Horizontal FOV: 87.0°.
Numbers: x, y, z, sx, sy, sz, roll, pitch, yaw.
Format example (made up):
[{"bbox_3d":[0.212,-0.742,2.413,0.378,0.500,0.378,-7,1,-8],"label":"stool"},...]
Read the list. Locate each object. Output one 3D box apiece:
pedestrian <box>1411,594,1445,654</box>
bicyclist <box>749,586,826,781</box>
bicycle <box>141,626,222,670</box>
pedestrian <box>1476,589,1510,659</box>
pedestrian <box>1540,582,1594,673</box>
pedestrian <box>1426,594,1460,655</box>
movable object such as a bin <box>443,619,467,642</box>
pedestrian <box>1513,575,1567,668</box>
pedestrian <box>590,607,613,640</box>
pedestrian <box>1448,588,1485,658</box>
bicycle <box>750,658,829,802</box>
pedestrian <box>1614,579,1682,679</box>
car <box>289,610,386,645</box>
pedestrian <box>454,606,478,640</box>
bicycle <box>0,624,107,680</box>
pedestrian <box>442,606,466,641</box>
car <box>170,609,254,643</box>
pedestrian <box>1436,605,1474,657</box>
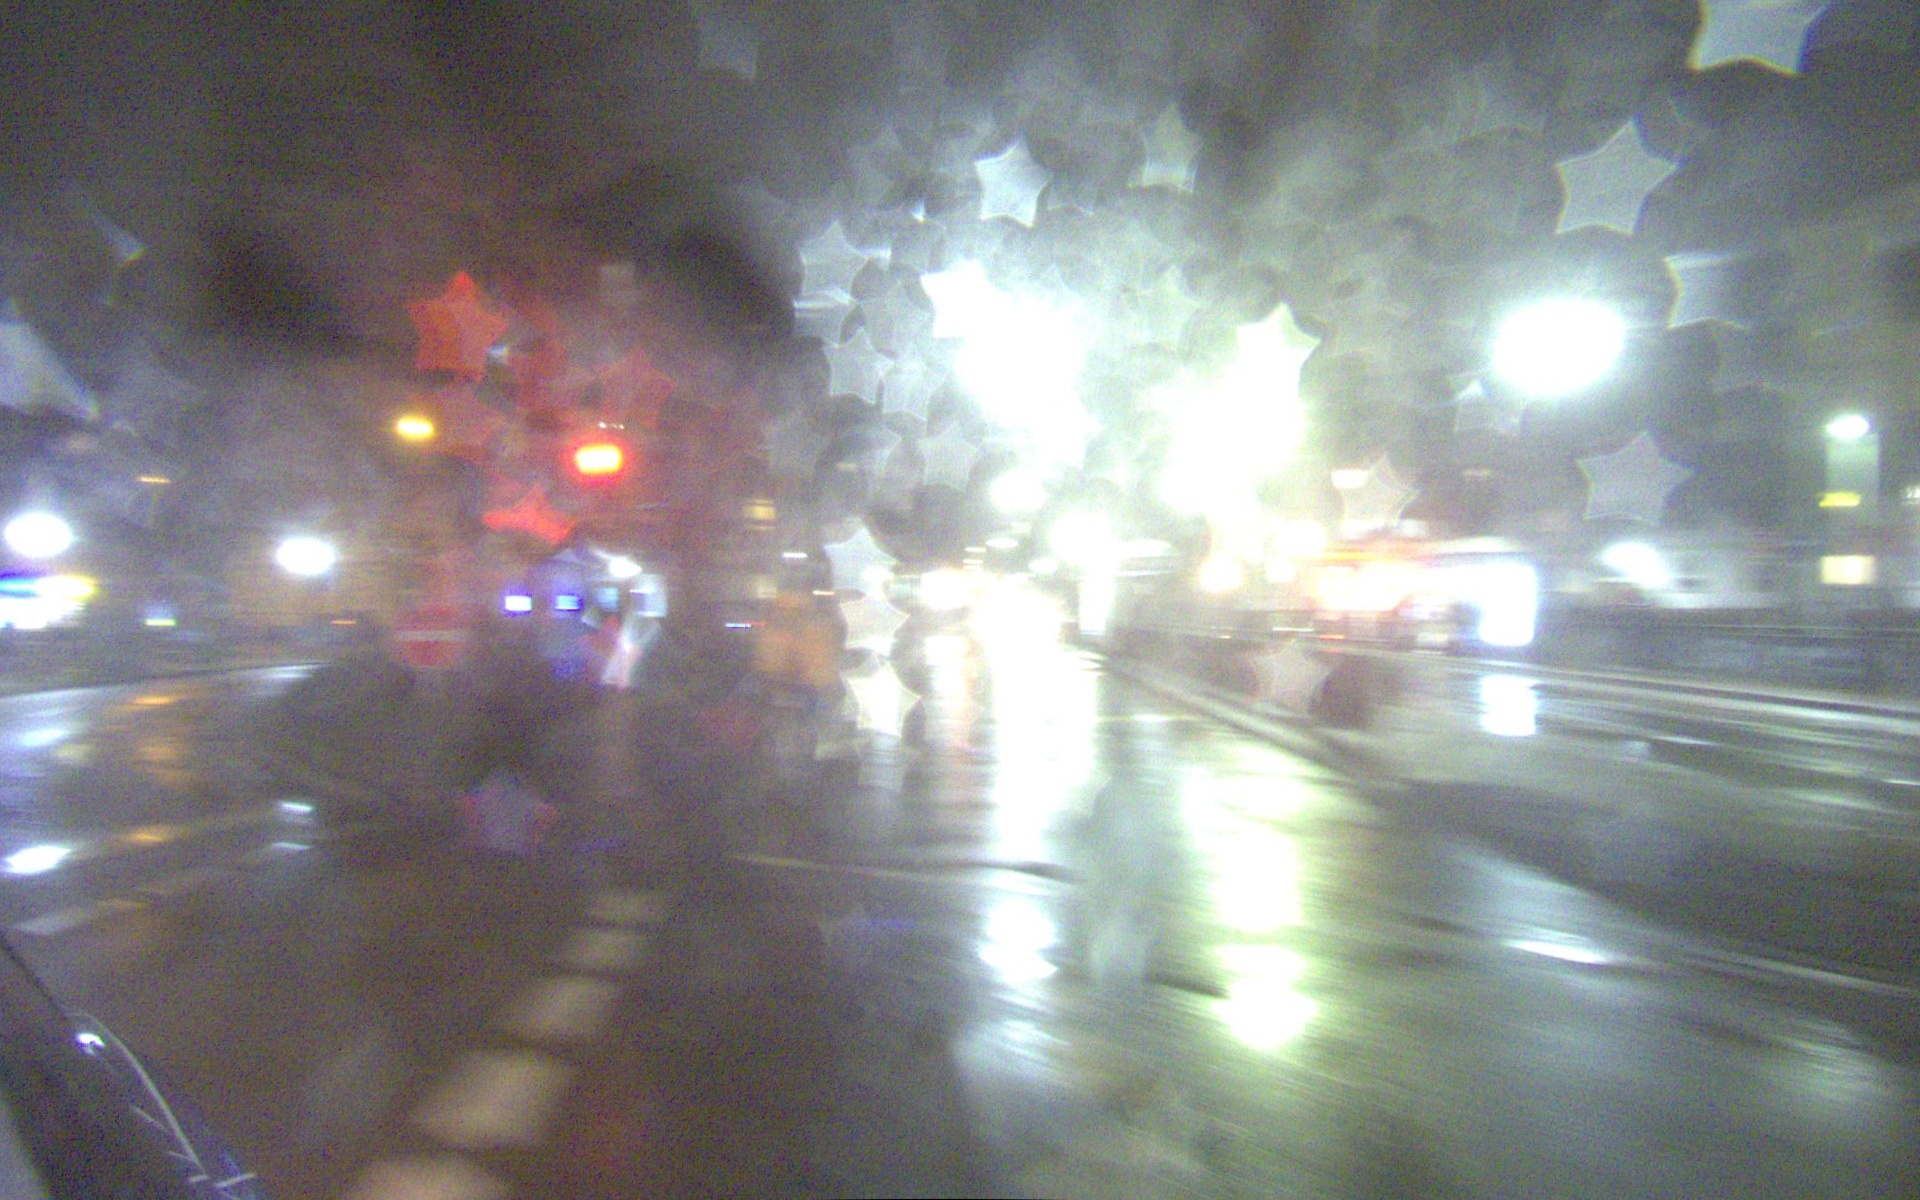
[{"bbox_3d":[12.555,0.633,27.131,0.503,1.559,0.577,-3,0,-17],"label":"pedestrian"},{"bbox_3d":[-1.481,0.676,8.667,0.563,1.559,0.818,-2,0,-10],"label":"bicyclist"},{"bbox_3d":[-20.582,1.263,26.786,1.597,1.089,0.566,-1,2,-15],"label":"bicycle"},{"bbox_3d":[12.709,0.572,24.136,0.394,1.641,0.533,-3,0,-42],"label":"pedestrian"},{"bbox_3d":[12.217,0.545,20.380,0.711,1.787,0.667,-3,0,17],"label":"pedestrian"},{"bbox_3d":[12.679,0.637,26.573,0.472,1.539,0.588,-3,0,-17],"label":"pedestrian"},{"bbox_3d":[-25.213,1.516,50.540,0.918,1.124,0.629,-3,0,26],"label":"movable object such as a bin"},{"bbox_3d":[12.979,0.469,22.661,0.600,2.001,0.859,-3,0,-2],"label":"pedestrian"},{"bbox_3d":[-17.138,1.115,48.362,0.759,1.504,0.633,-3,0,7],"label":"pedestrian"},{"bbox_3d":[12.381,0.559,24.737,0.576,1.664,0.560,-3,0,-43],"label":"pedestrian"},{"bbox_3d":[-1.472,1.048,8.669,0.563,0.976,1.784,-2,0,-10],"label":"bicycle"},{"bbox_3d":[12.784,0.523,18.820,0.660,1.787,0.719,-3,0,-9],"label":"pedestrian"},{"bbox_3d":[-31.057,1.385,50.488,4.468,1.605,1.874,-1,1,24],"label":"car"},{"bbox_3d":[-24.486,1.129,50.146,0.838,1.650,0.629,-3,0,26],"label":"pedestrian"},{"bbox_3d":[-20.605,1.158,22.916,1.843,1.226,0.732,0,-1,-14],"label":"bicycle"},{"bbox_3d":[-24.768,1.142,49.537,0.870,1.650,0.629,-3,0,26],"label":"pedestrian"},{"bbox_3d":[-40.561,1.433,54.894,4.263,1.716,1.865,-1,1,26],"label":"car"},{"bbox_3d":[12.459,0.767,25.472,0.576,1.263,0.625,-3,0,-43],"label":"pedestrian"}]
